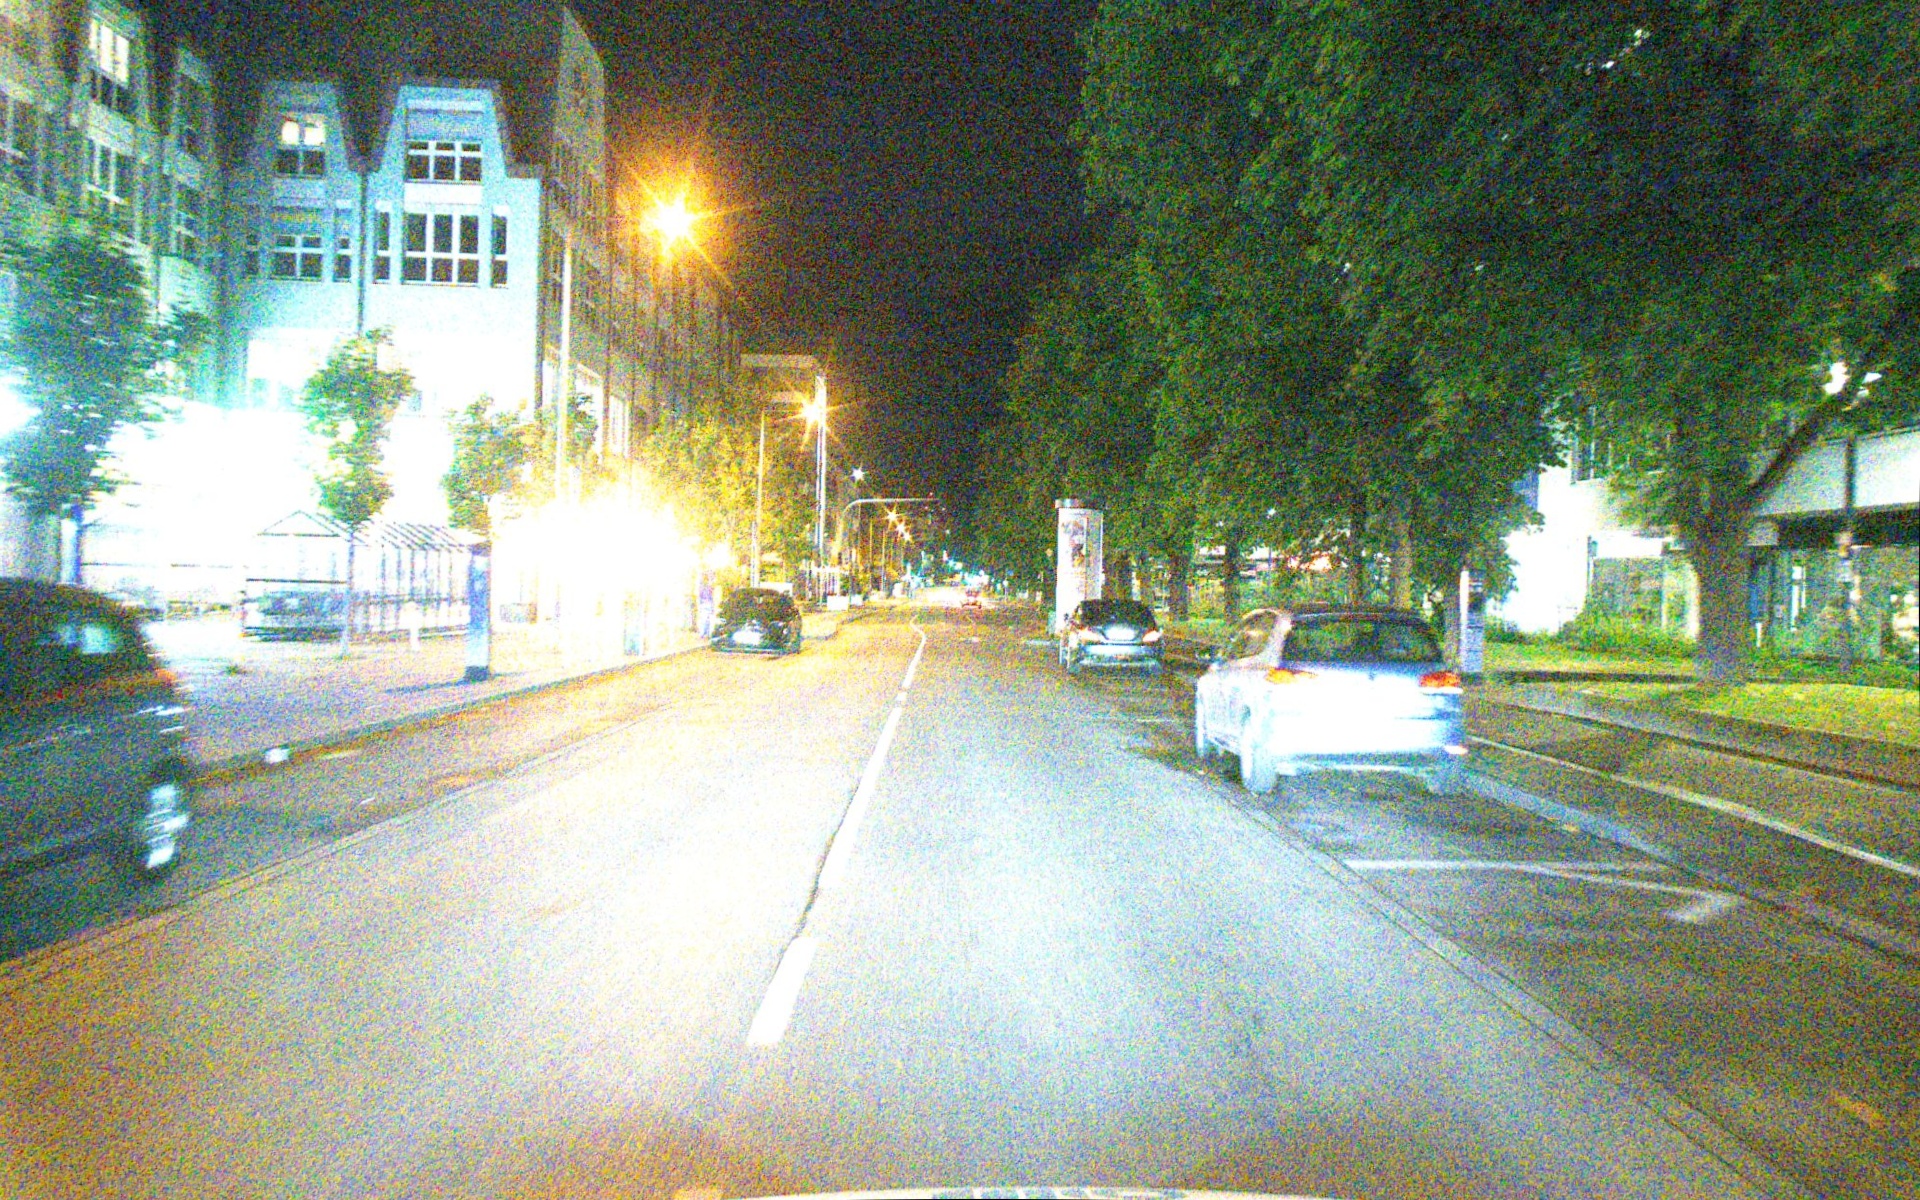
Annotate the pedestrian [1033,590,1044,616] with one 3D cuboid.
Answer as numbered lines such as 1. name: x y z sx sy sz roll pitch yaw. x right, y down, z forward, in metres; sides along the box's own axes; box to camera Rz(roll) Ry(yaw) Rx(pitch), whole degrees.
1. pedestrian: 5.554 0.198 116.761 0.688 1.850 1.082 1 0 0

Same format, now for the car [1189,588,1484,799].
1. car: 3.102 0.687 14.413 1.655 1.563 4.015 0 0 0

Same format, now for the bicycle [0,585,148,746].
1. bicycle: -7.275 0.484 12.677 1.813 1.186 0.532 1 0 -1

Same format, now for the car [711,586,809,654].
1. car: -4.647 0.420 38.946 1.705 1.438 4.495 2 0 0

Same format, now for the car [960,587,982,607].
1. car: 0.961 -0.275 147.871 1.953 1.672 3.999 0 0 -1

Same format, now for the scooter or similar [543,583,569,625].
1. scooter or similar: -12.162 0.107 49.770 0.379 1.242 1.344 1 0 2

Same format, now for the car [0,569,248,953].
1. car: -4.571 0.609 6.595 1.687 1.453 3.976 3 0 0

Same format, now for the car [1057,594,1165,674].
1. car: 2.945 0.614 33.064 1.728 1.439 4.808 1 0 0
